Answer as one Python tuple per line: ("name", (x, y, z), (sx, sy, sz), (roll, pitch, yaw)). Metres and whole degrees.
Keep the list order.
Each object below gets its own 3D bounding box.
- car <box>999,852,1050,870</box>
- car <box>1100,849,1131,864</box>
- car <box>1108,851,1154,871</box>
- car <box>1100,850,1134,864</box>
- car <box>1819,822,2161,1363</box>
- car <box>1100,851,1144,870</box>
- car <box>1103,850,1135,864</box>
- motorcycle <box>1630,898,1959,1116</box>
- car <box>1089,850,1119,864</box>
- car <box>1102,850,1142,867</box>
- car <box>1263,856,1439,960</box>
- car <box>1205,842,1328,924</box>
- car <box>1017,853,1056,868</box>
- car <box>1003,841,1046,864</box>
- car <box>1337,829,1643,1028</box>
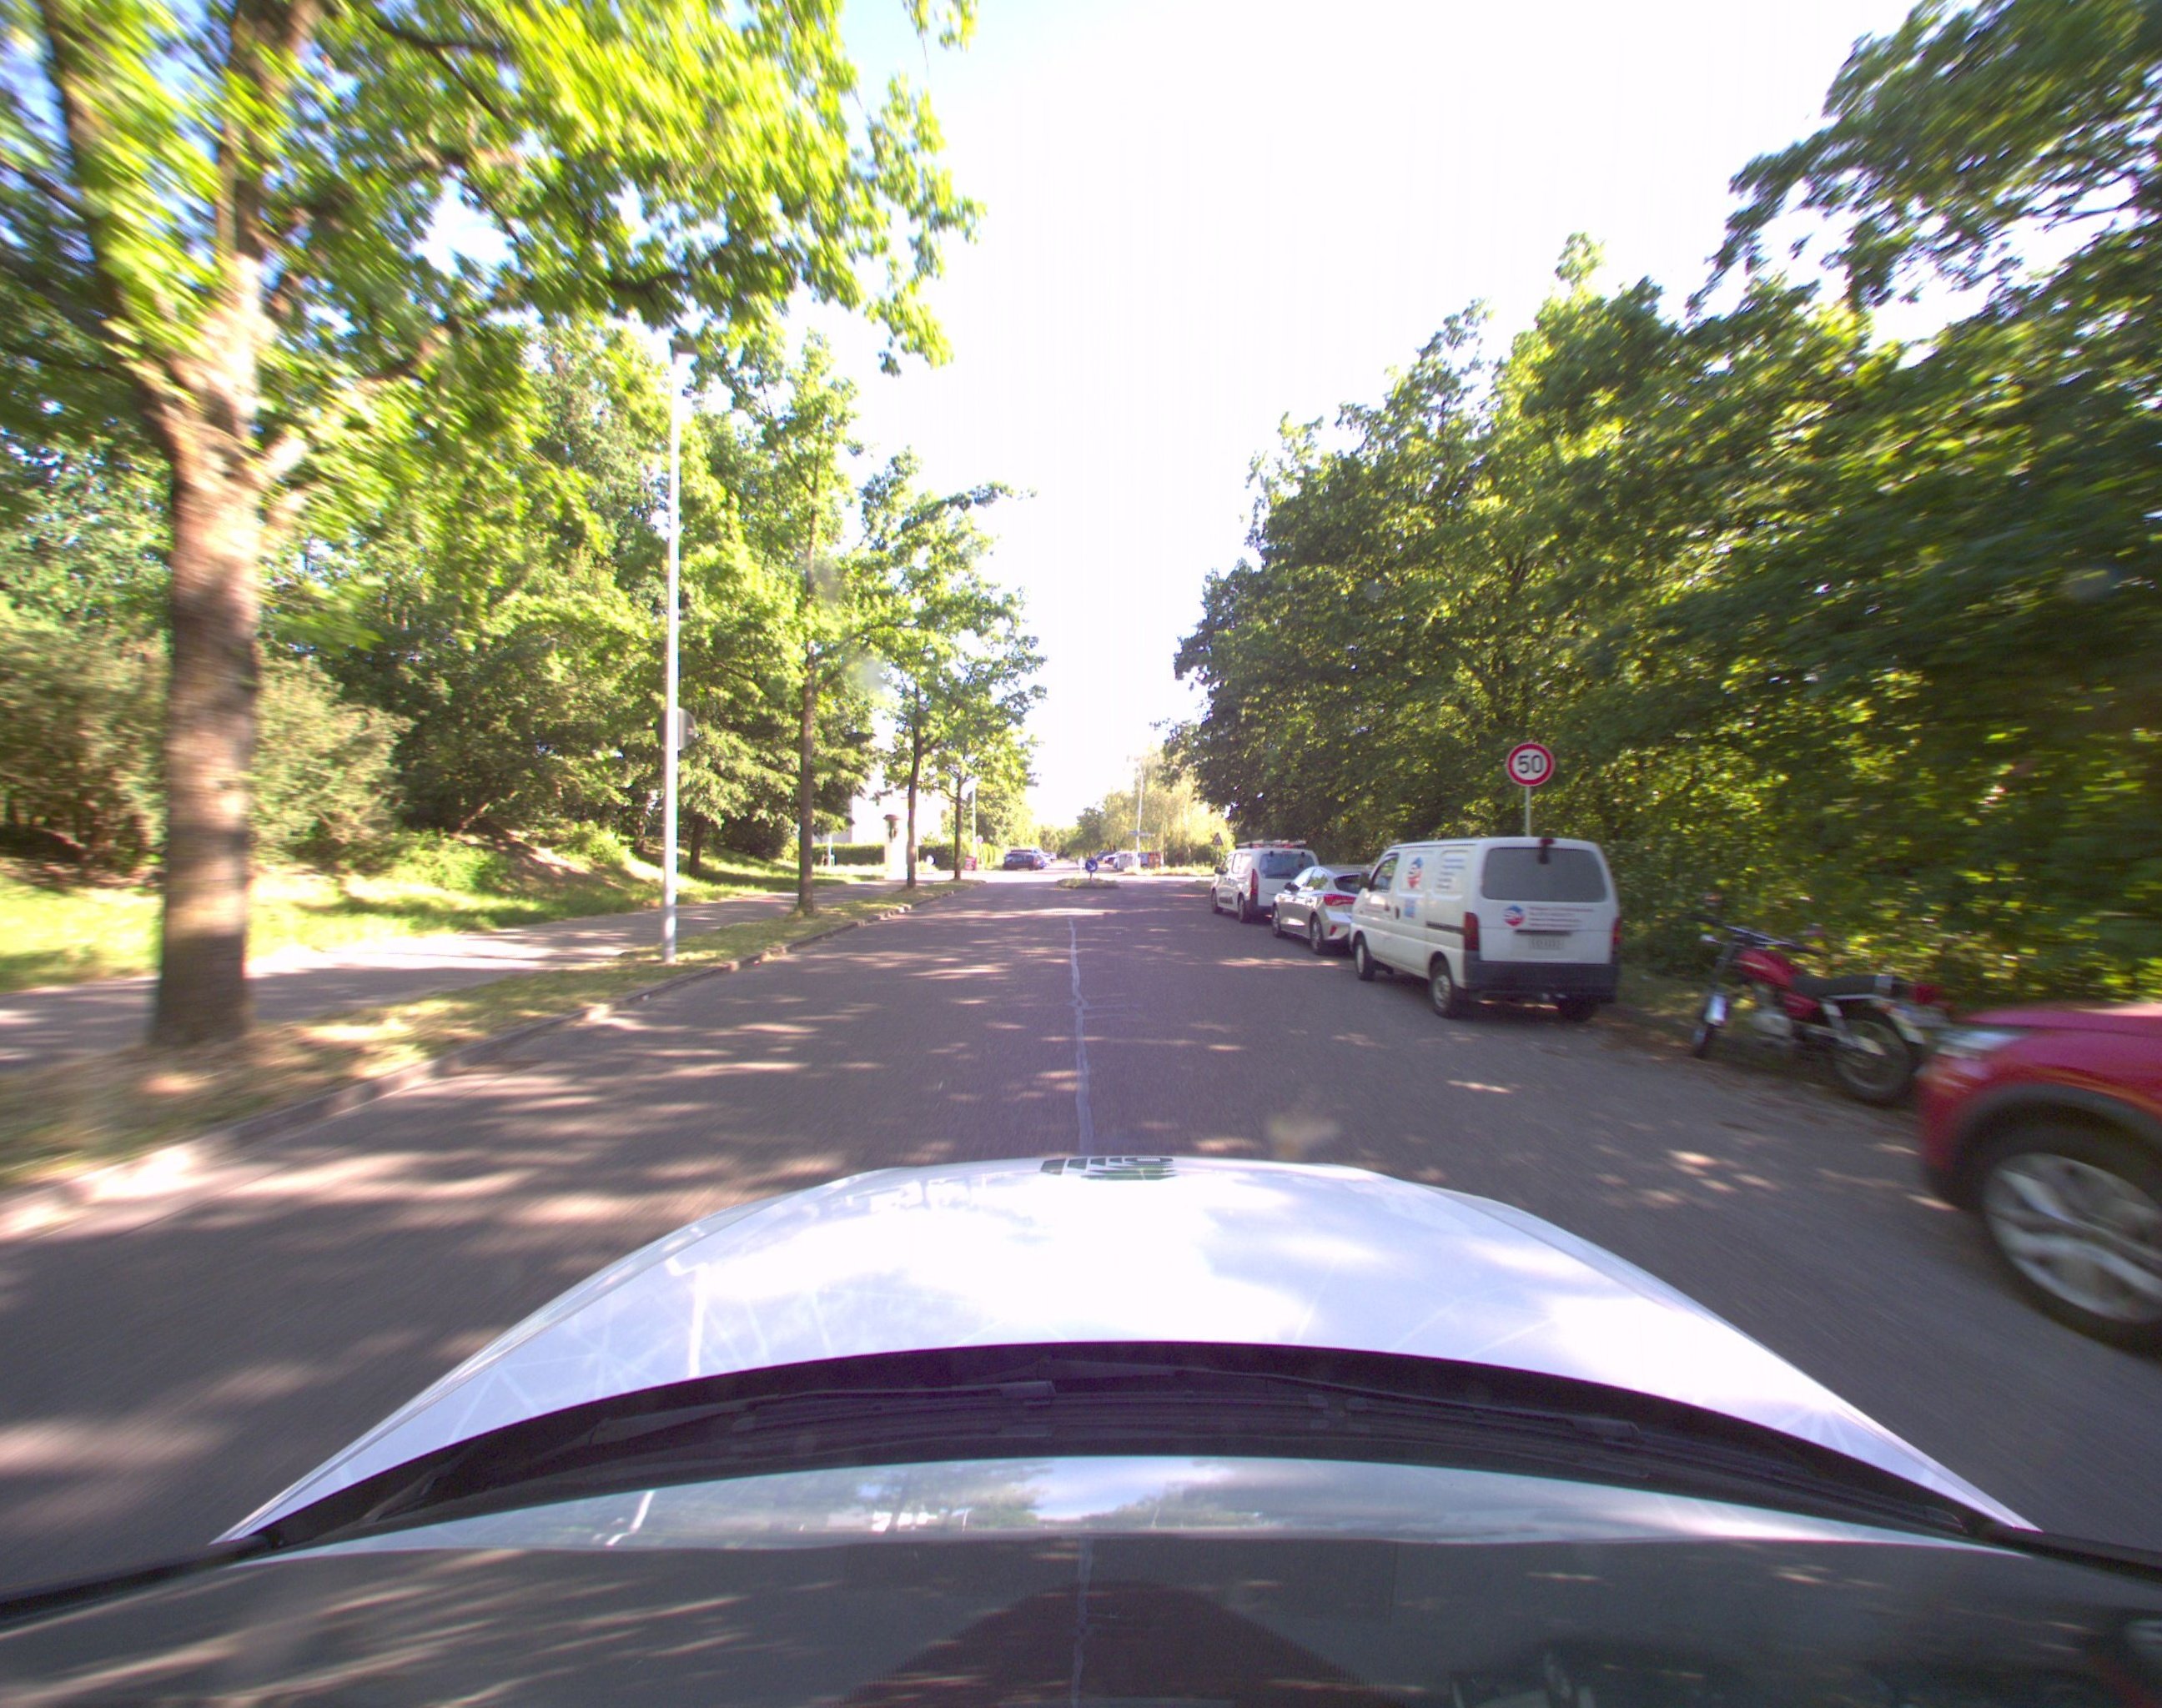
("car", (-5.111, 0.631, 74.323), (4.296, 1.576, 2.050), (2, 0, 6))
("car", (4.433, 0.312, 104.687), (3.821, 1.796, 1.690), (2, 0, 4))
("car", (4.337, 0.627, 69.923), (3.819, 1.576, 1.691), (2, 0, 6))
("car", (4.183, 0.368, 95.353), (3.819, 1.576, 1.691), (2, 0, 6))
("car", (4.164, 0.739, 1.554), (1.771, 1.621, 4.062), (2, 0, -1))
("car", (3.678, 0.561, 72.738), (3.819, 1.576, 1.691), (2, 0, 6))
("car", (4.592, 0.335, 98.488), (3.821, 1.576, 1.690), (2, 0, 4))
("motorcycle", (4.982, 0.976, 5.921), (0.645, 1.196, 2.036), (1, 0, 1))
("car", (3.135, 0.412, 109.606), (3.821, 1.796, 1.690), (2, 0, 4))
("car", (4.050, 0.477, 80.548), (3.819, 1.576, 1.691), (2, 0, 6))
("car", (4.543, 0.818, 14.386), (1.686, 1.512, 4.206), (2, 0, 0))
("car", (4.510, 0.651, 20.531), (1.787, 1.785, 4.551), (2, 0, -3))
("car", (-4.954, 0.737, 90.627), (4.091, 1.576, 1.959), (2, 0, 1))
("car", (-6.908, -0.128, 99.569), (5.192, 2.621, 2.289), (2, 0, -6))
("car", (4.311, 0.681, 9.263), (1.618, 1.773, 3.668), (2, 0, 0))
